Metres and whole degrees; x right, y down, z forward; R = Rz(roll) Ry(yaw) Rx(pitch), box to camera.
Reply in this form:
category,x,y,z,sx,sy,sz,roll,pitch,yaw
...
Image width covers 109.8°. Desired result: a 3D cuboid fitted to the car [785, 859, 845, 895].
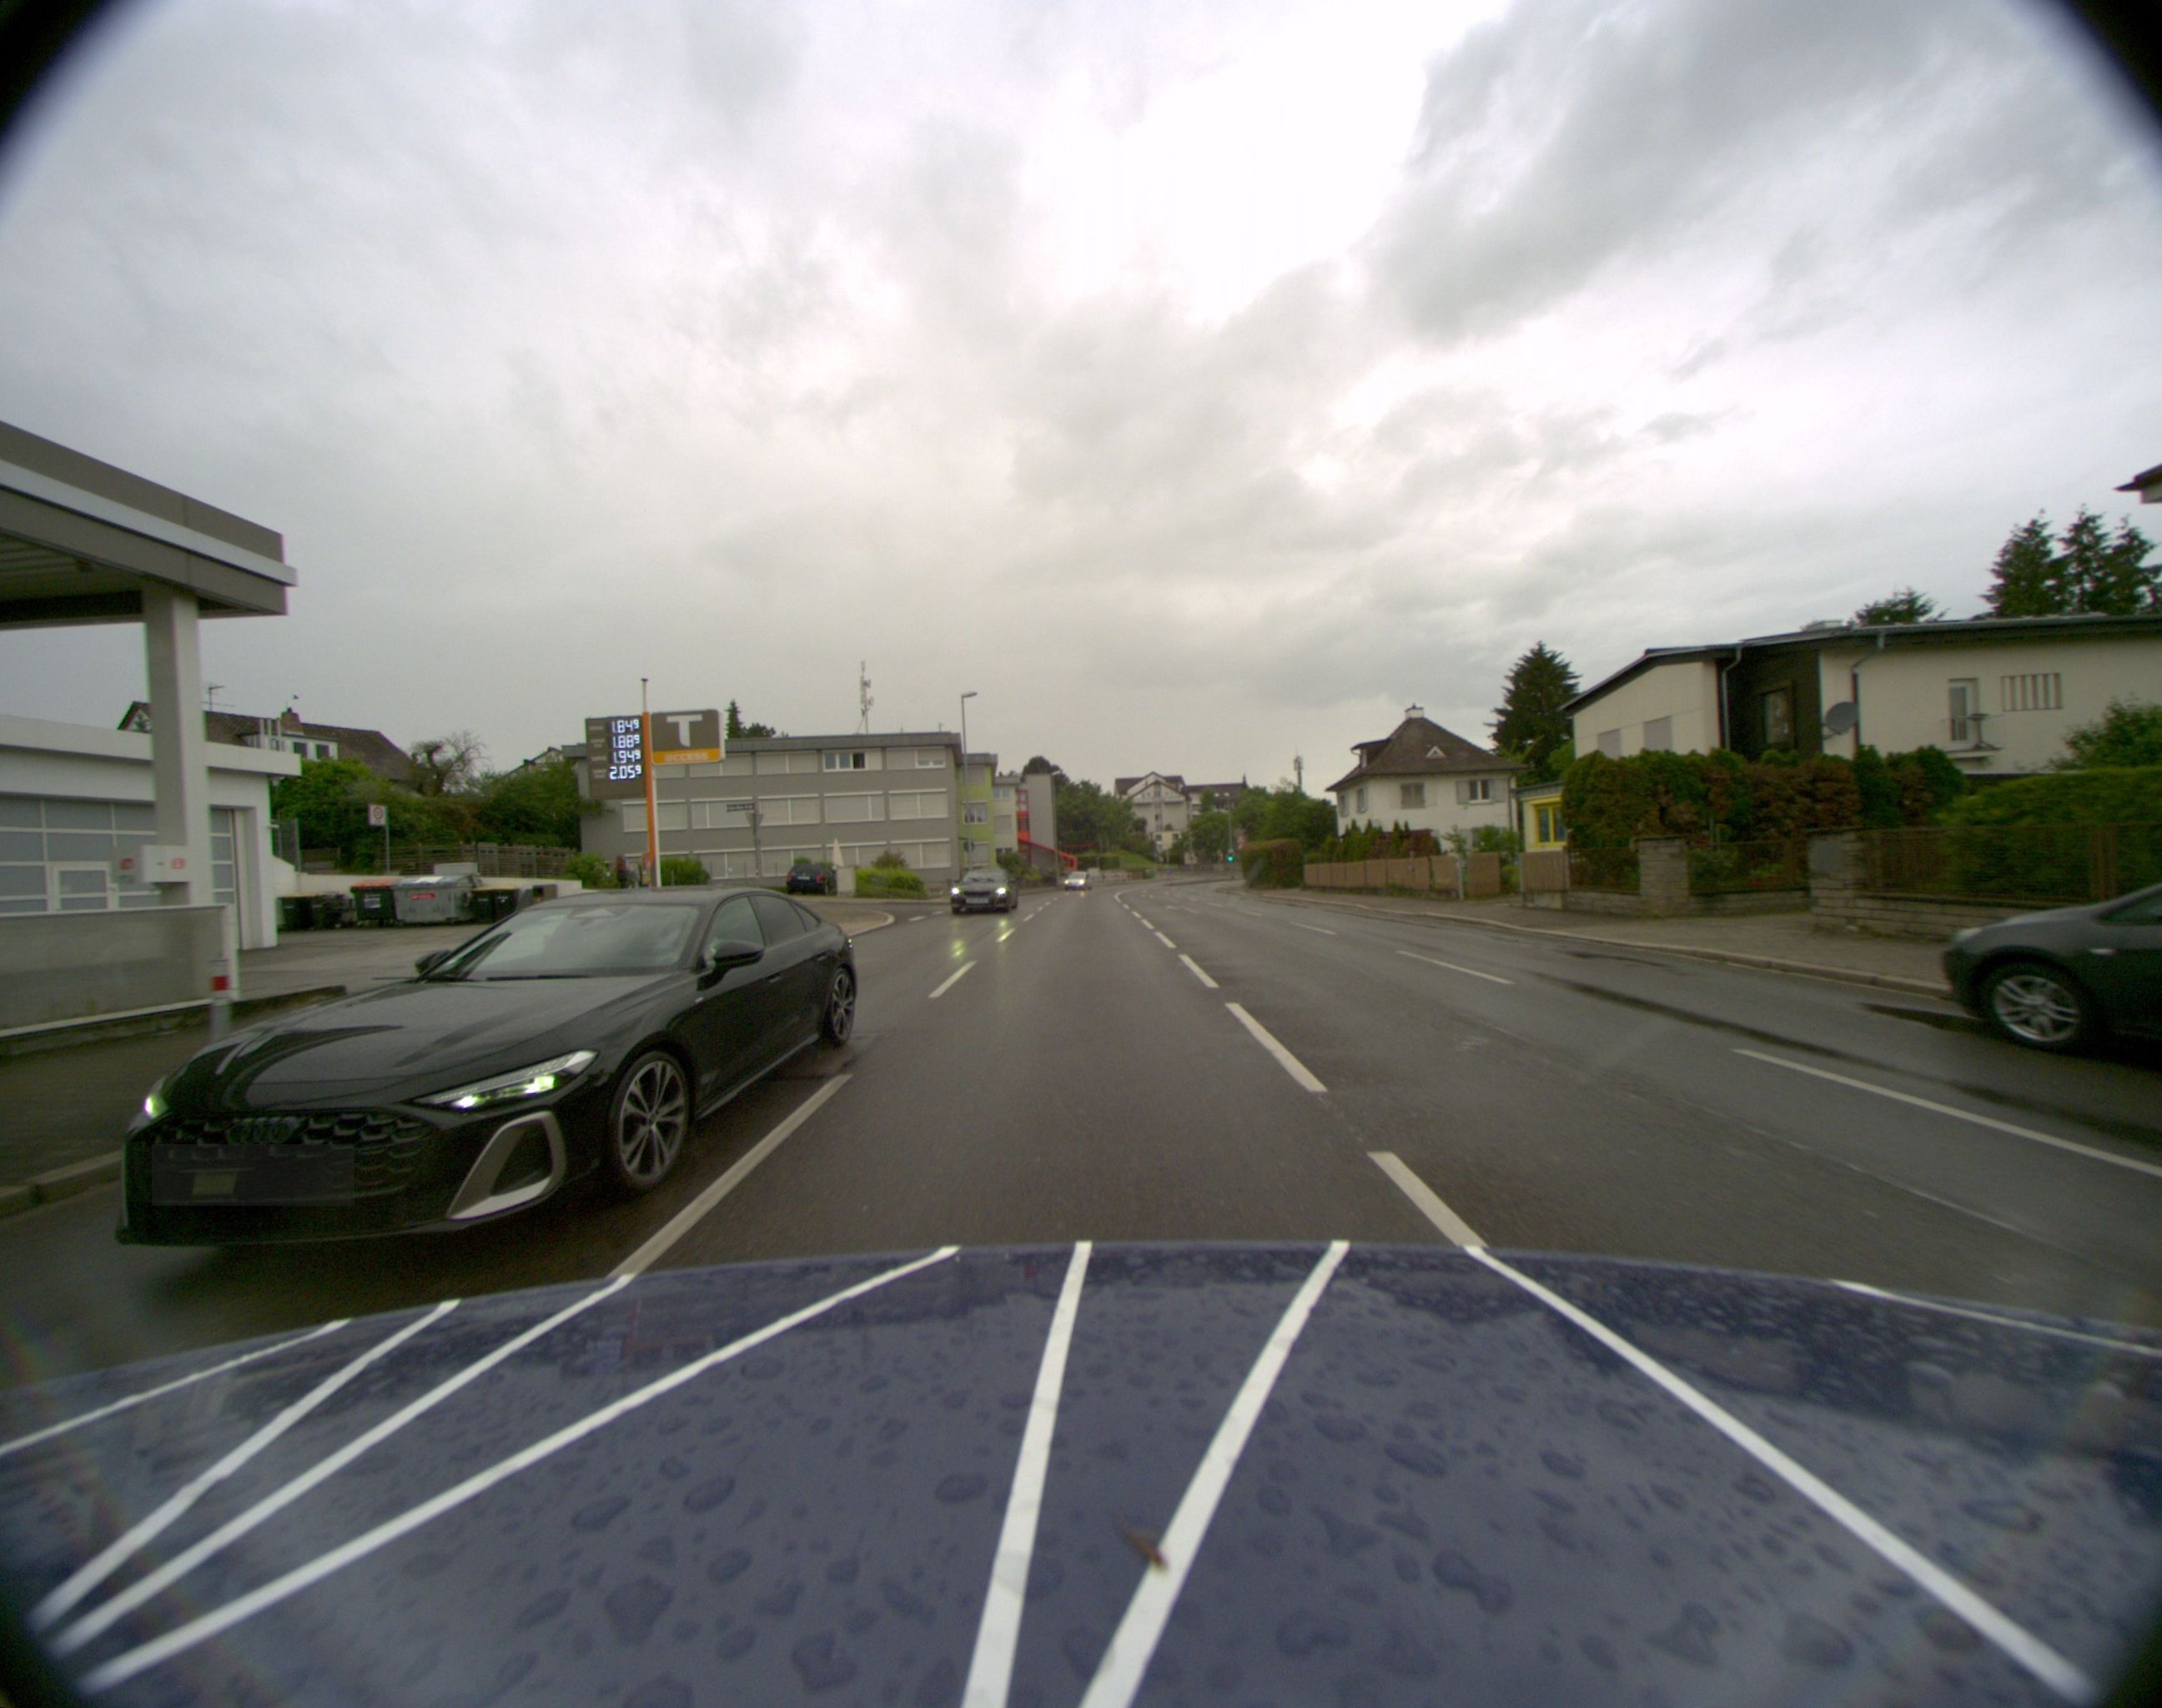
category,x,y,z,sx,sy,sz,roll,pitch,yaw
car,-12.486,1.029,35.852,1.815,1.518,3.997,1,0,-7

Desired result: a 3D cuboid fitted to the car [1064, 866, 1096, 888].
category,x,y,z,sx,sy,sz,roll,pitch,yaw
car,-0.043,1.901,64.146,1.997,1.647,4.002,-2,1,10

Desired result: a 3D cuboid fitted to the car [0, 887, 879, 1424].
category,x,y,z,sx,sy,sz,roll,pitch,yaw
car,-2.919,1.081,4.794,1.871,1.416,4.739,-2,1,1

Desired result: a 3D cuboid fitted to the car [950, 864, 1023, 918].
category,x,y,z,sx,sy,sz,roll,pitch,yaw
car,-3.149,1.206,26.166,1.872,1.510,4.000,-2,1,1

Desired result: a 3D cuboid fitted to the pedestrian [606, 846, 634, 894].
category,x,y,z,sx,sy,sz,roll,pitch,yaw
pedestrian,-19.723,0.659,32.484,0.717,2.002,0.614,-2,1,-2

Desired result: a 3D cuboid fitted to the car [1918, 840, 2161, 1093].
category,x,y,z,sx,sy,sz,roll,pitch,yaw
car,7.220,0.670,3.714,1.754,1.431,4.129,-2,1,2
